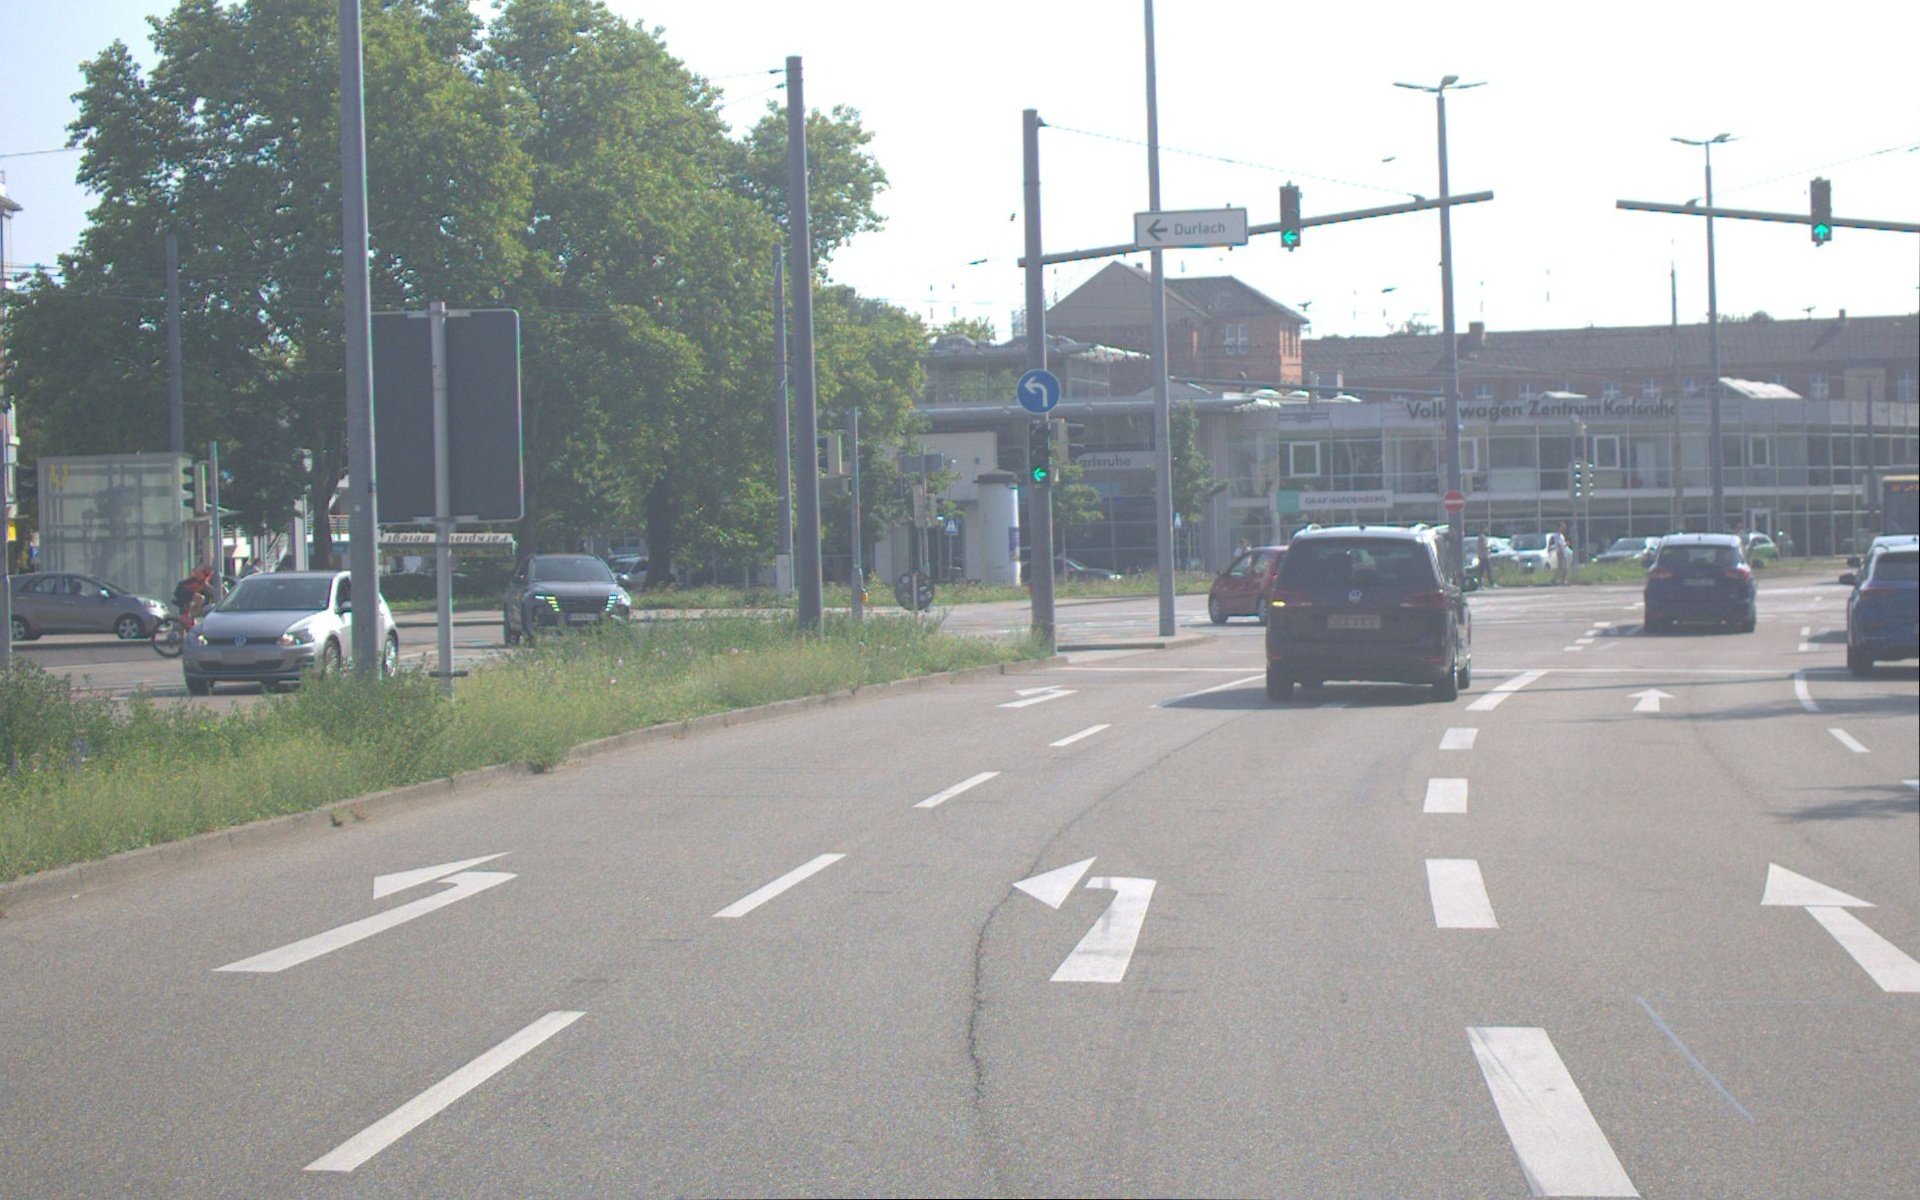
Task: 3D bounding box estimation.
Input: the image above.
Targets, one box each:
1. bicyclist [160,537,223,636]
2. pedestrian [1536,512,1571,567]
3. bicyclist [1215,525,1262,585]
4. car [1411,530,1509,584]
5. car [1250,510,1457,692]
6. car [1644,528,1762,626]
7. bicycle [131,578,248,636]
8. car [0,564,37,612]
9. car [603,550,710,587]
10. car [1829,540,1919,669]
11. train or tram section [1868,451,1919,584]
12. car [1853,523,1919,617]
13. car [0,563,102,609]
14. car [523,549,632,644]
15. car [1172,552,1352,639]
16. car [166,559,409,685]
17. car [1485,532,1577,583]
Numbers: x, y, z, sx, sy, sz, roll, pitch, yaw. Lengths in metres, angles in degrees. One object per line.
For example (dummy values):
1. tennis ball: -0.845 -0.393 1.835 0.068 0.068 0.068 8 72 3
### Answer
1. bicyclist: -13.029 -0.237 58.299 0.881 1.646 0.726 -1 1 1
2. pedestrian: 16.584 -1.691 96.087 0.778 1.498 0.709 -1 1 23
3. bicyclist: 8.103 -1.310 99.897 0.959 1.742 1.164 0 1 28
4. car: 14.643 -1.261 100.531 1.616 1.470 3.994 -3 0 27
5. car: 4.045 -0.043 34.789 1.826 1.708 4.411 0 1 10
6. car: 12.406 -0.410 57.571 1.826 1.530 4.410 -1 1 11
7. bicycle: -13.060 0.116 58.304 1.813 0.929 0.726 -1 1 1
8. car: -28.550 -0.326 97.933 4.155 1.349 1.482 -1 1 -7
9. car: -12.820 -1.341 145.430 1.704 1.517 4.503 0 1 43
10. car: 11.494 0.006 41.217 1.826 1.423 4.410 -1 1 11
11. train or tram section: 29.452 -2.458 99.874 2.660 3.686 10.570 -1 1 33
12. car: 15.271 -0.519 55.068 1.826 1.423 4.409 -1 1 14
13. car: -28.255 -0.422 104.240 4.155 1.349 1.578 -1 1 -7
14. car: -6.912 -0.084 61.831 1.693 1.612 4.463 -1 1 -9
15. car: 5.623 -0.106 64.585 1.825 1.530 4.413 -2 1 -17
16. car: -8.260 0.234 42.571 1.814 1.428 4.224 -1 1 5
17. car: 17.717 -1.321 106.524 1.616 1.470 3.994 -3 0 27
